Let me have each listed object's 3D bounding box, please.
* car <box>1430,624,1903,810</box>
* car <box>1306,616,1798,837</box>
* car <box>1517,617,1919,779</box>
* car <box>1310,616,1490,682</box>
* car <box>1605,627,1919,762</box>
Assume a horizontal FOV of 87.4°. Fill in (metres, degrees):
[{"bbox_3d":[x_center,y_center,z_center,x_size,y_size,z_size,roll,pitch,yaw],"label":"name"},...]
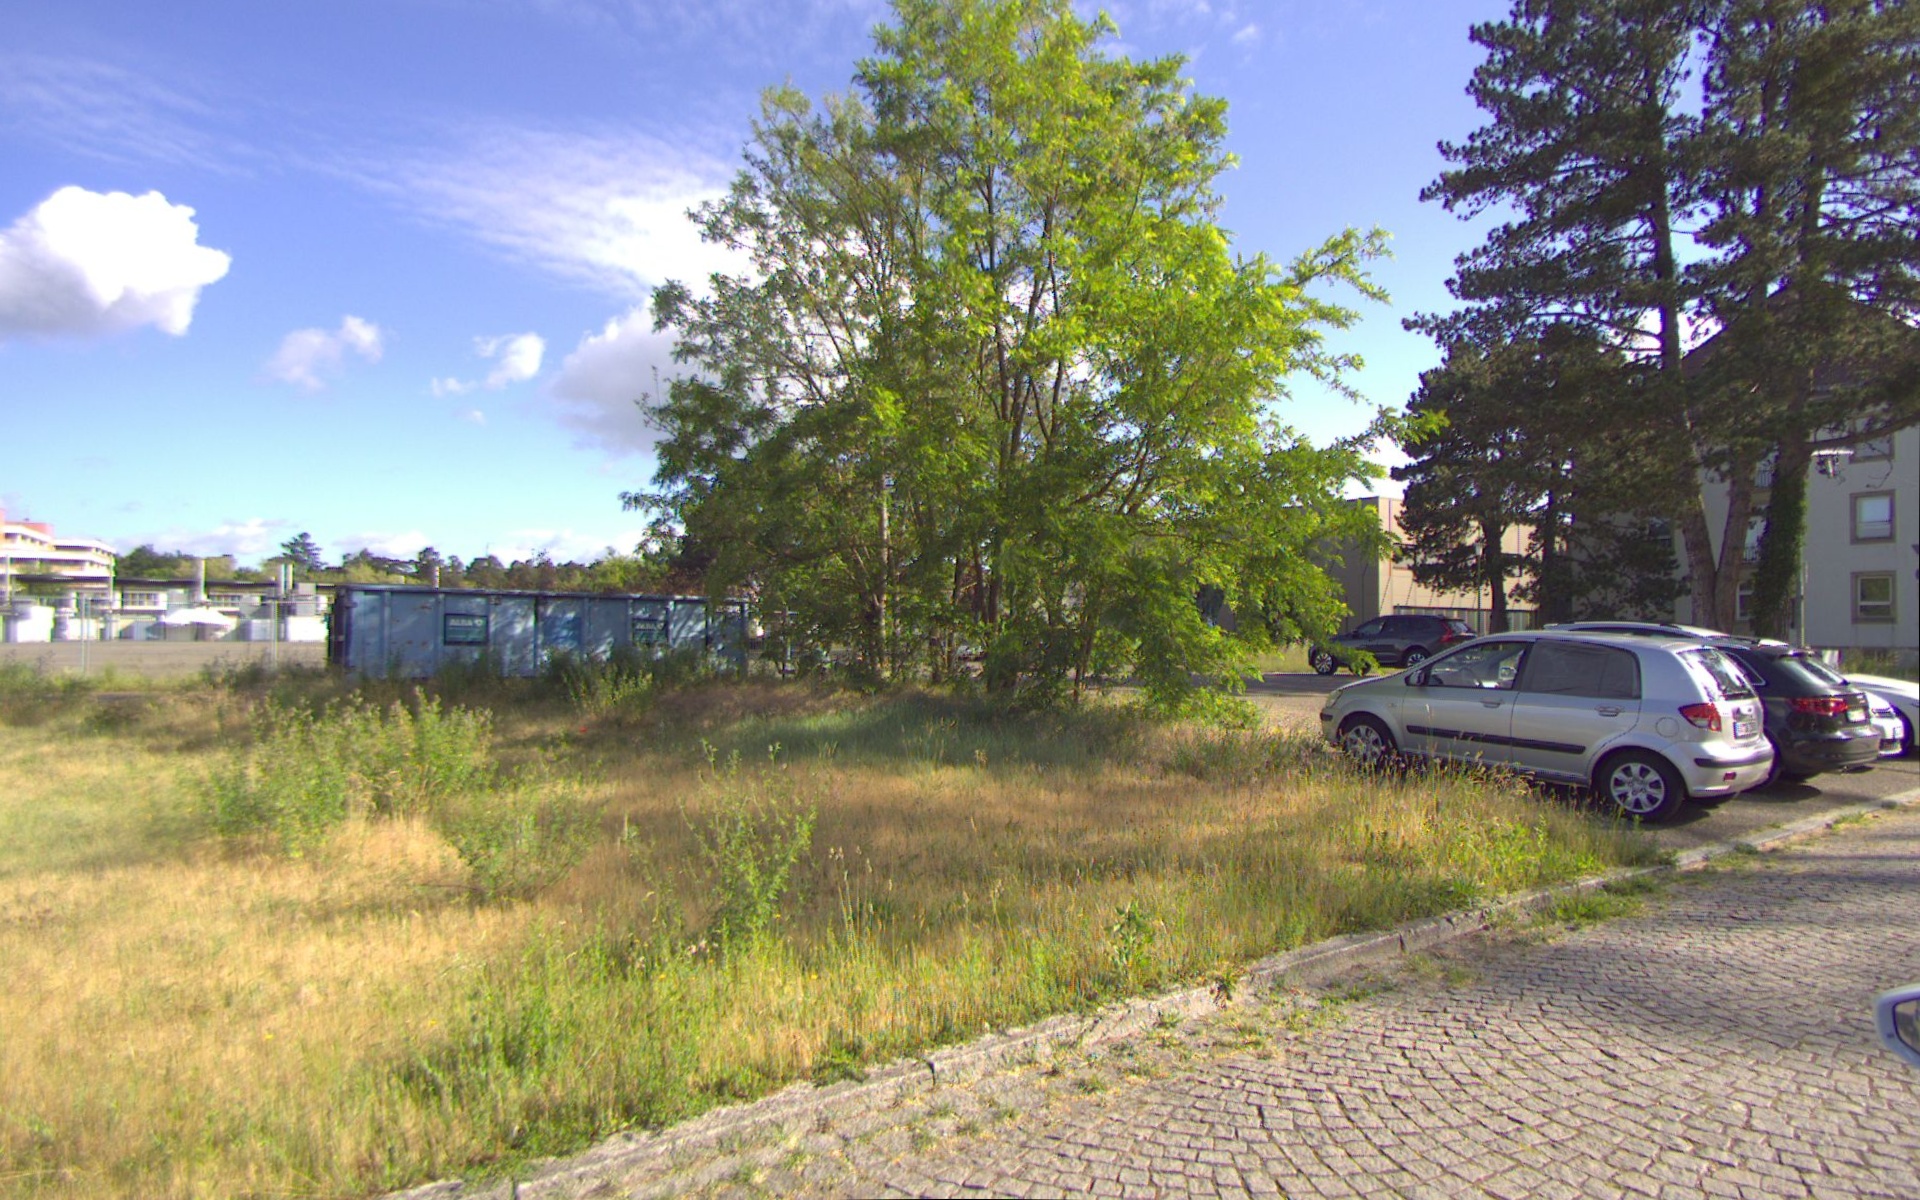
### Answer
[{"bbox_3d":[7.537,1.106,11.100,1.673,1.464,3.912,1,1,-34],"label":"car"},{"bbox_3d":[5.392,0.998,9.570,1.683,1.548,3.660,1,0,-36],"label":"car"},{"bbox_3d":[9.591,1.107,12.974,1.643,1.637,3.855,1,0,-34],"label":"car"},{"bbox_3d":[11.904,1.298,27.430,1.988,1.630,4.121,1,-2,-32],"label":"car"},{"bbox_3d":[11.777,1.226,14.333,1.751,1.516,3.970,1,0,-28],"label":"car"}]
